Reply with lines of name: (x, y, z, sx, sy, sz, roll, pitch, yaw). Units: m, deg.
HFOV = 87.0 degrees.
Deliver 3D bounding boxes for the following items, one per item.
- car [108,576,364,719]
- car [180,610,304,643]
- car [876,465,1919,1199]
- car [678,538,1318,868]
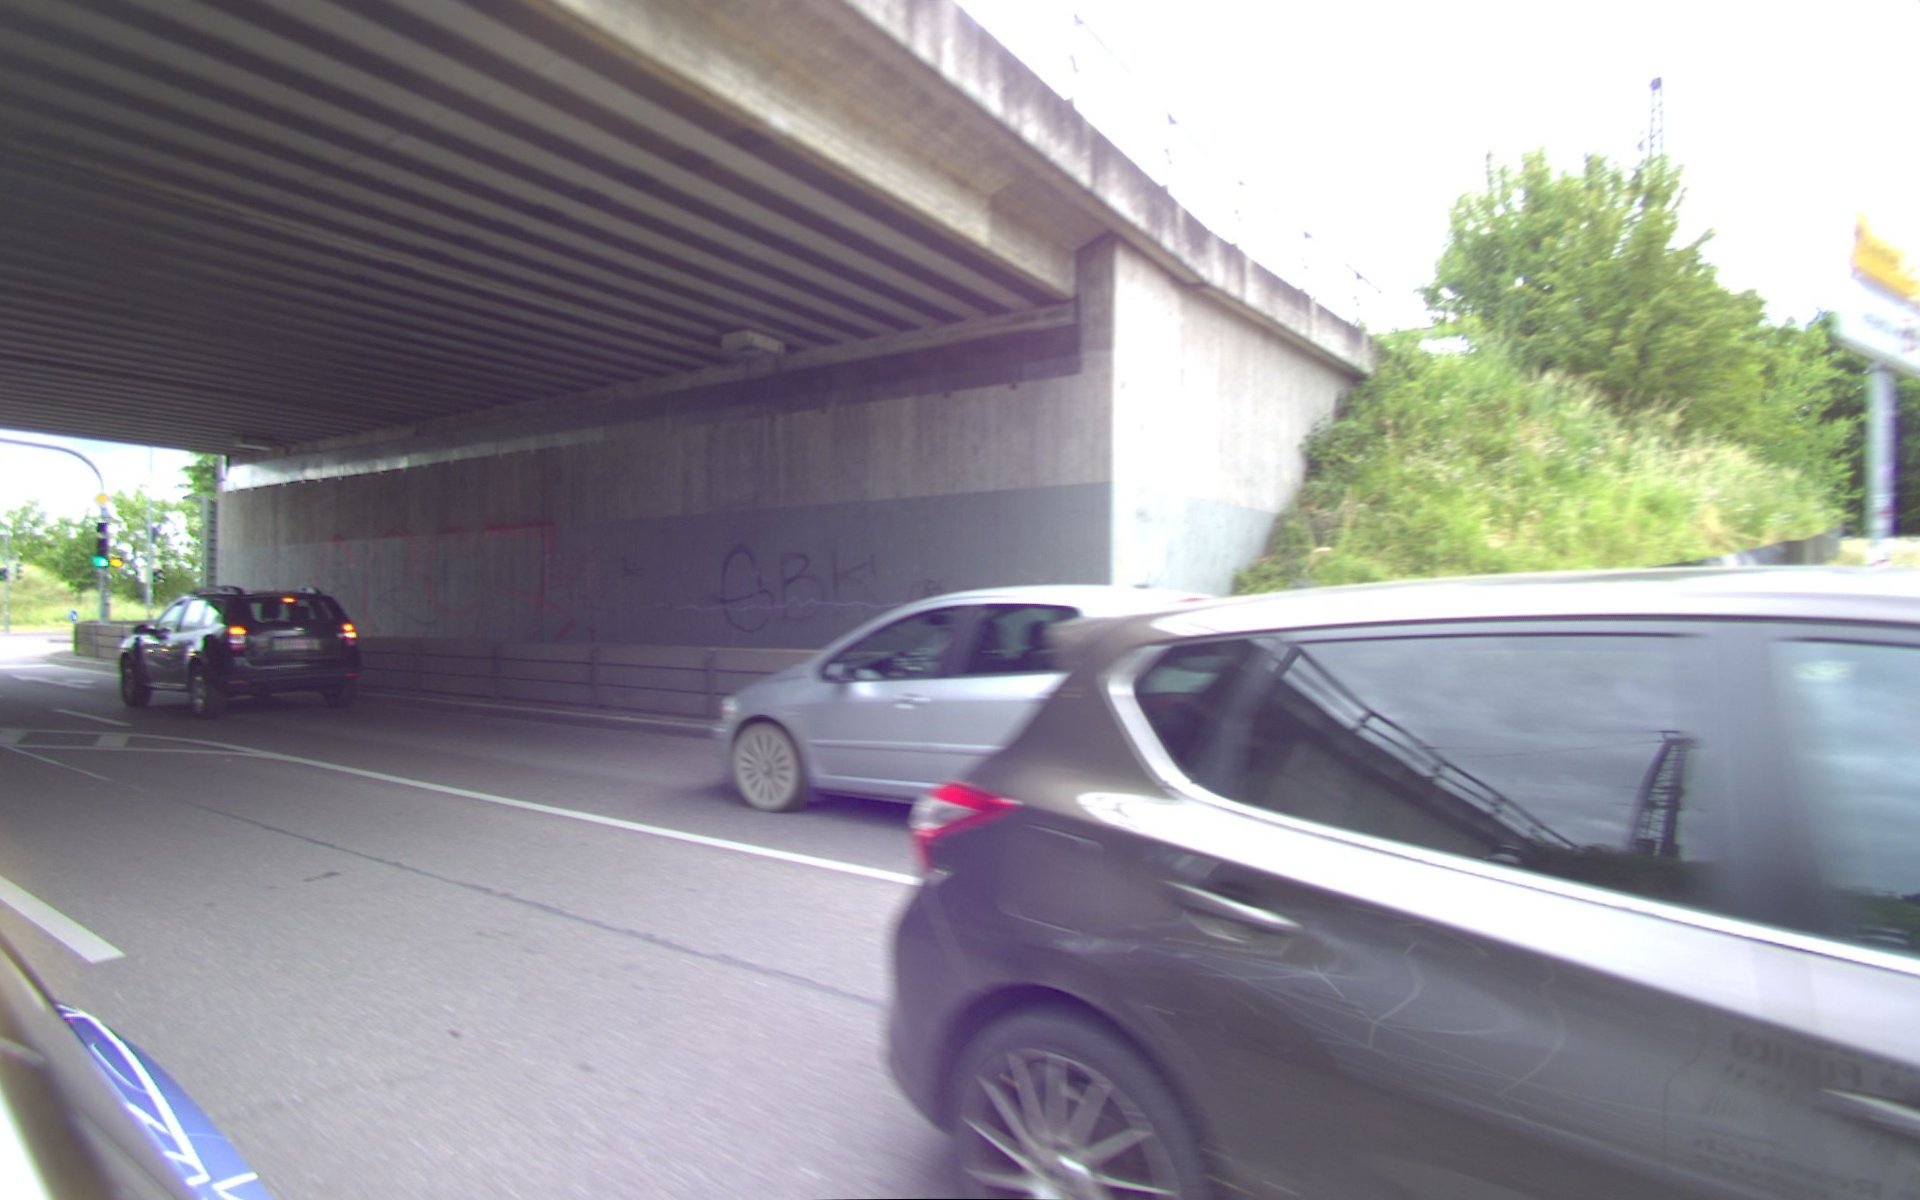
car: (-9.979, 0.531, 13.884, 3.780, 1.721, 1.672, 1, 1, 35)
car: (-32.969, 1.173, 46.631, 1.983, 1.349, 4.394, 1, 0, 17)
car: (1.928, 0.593, 1.620, 3.997, 1.504, 1.826, 0, 0, 40)
car: (0.125, 0.521, 6.788, 3.990, 1.604, 1.748, -1, 0, 35)
